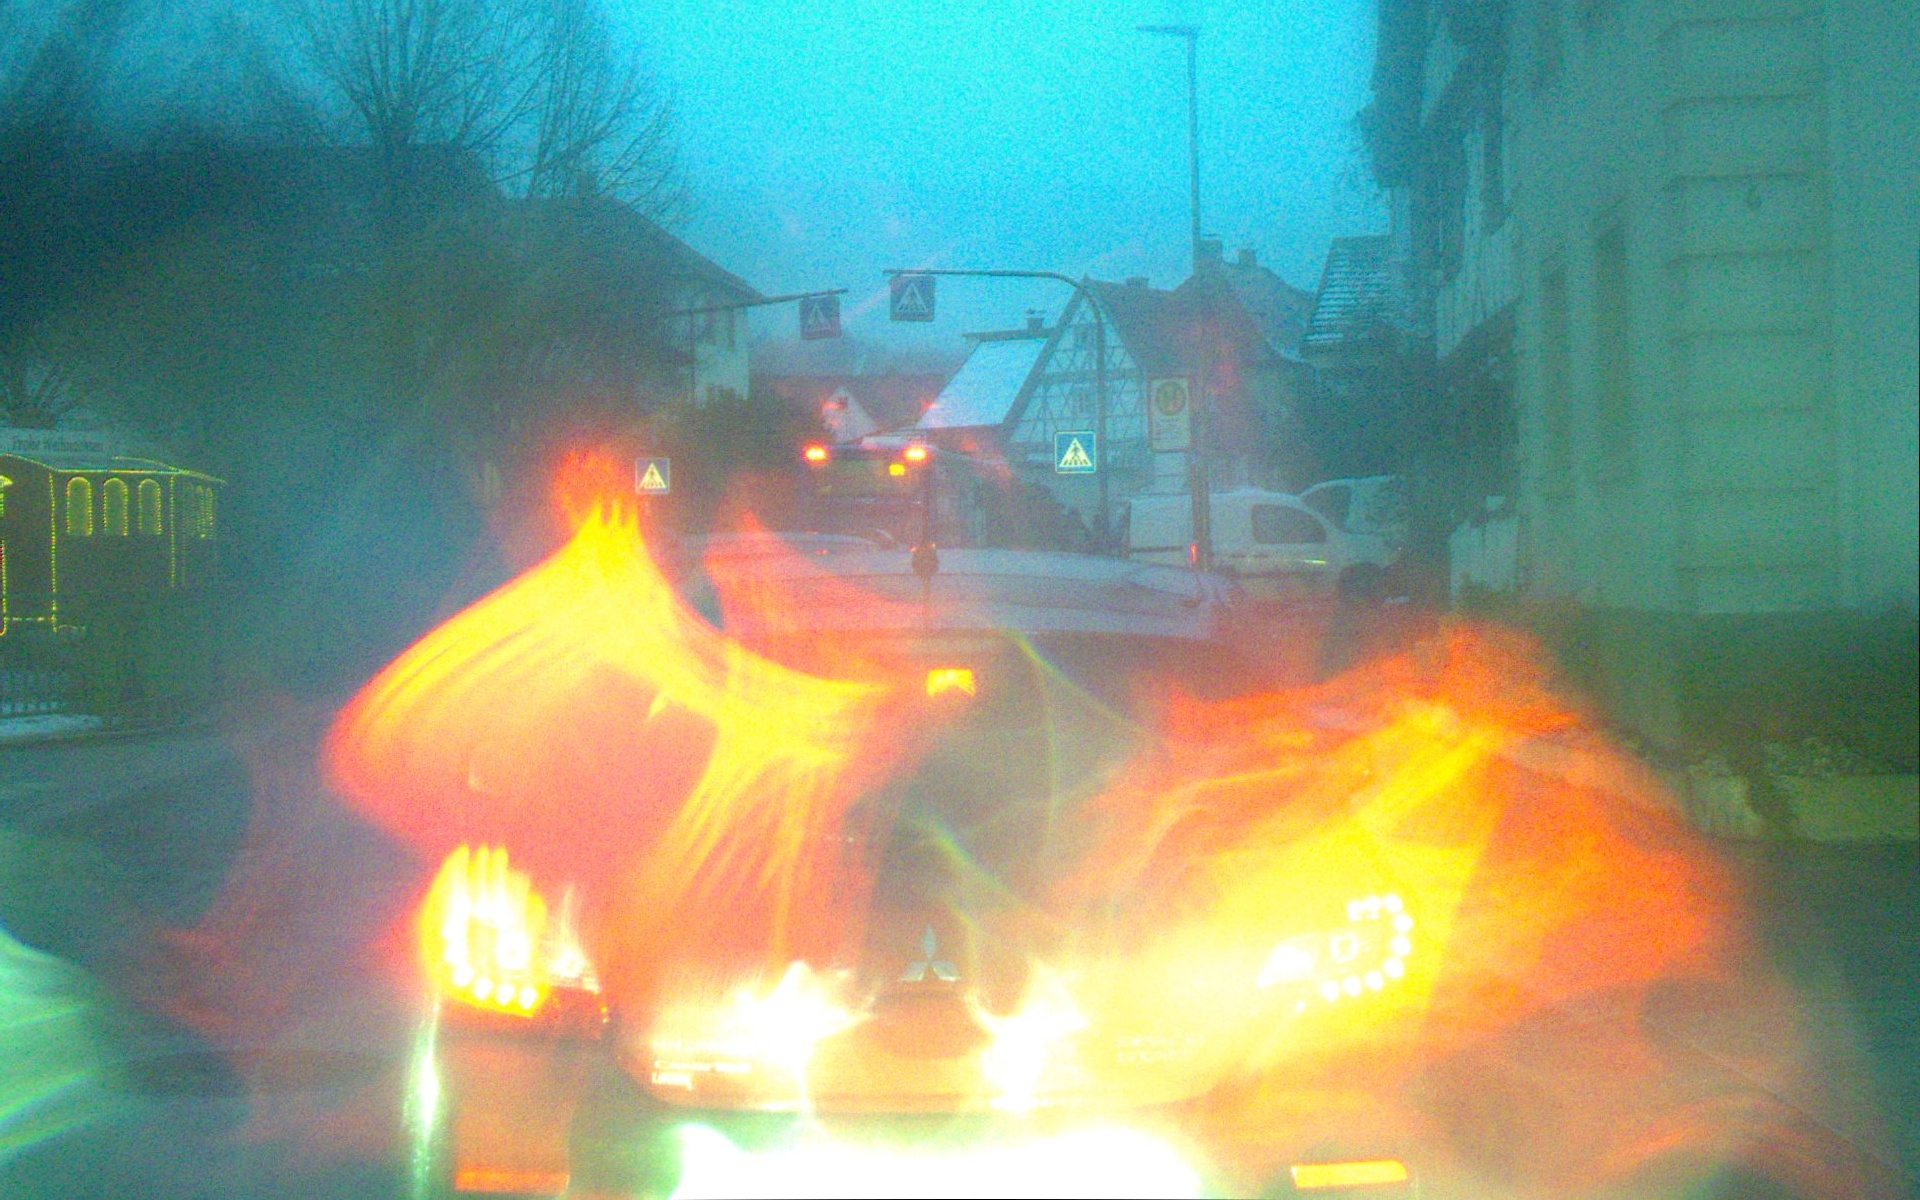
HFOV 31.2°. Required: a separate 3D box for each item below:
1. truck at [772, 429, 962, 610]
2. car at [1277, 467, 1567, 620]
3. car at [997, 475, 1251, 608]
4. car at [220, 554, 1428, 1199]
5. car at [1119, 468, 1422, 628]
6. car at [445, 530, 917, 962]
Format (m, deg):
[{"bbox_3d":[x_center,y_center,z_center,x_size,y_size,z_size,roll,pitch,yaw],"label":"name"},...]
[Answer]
[{"bbox_3d":[-1.598,-1.472,63.154,3.015,3.118,8.000,0,1,2],"label":"truck"},{"bbox_3d":[6.710,-0.827,50.082,4.098,2.144,1.913,0,1,7],"label":"car"},{"bbox_3d":[2.771,-0.983,57.401,4.098,2.144,1.913,0,1,7],"label":"car"},{"bbox_3d":[-0.201,0.660,6.360,1.638,1.476,3.379,0,1,-1],"label":"car"},{"bbox_3d":[4.326,-0.731,47.817,4.098,2.155,1.913,0,1,7],"label":"car"},{"bbox_3d":[-1.153,0.473,13.609,1.637,1.476,3.272,0,1,-7],"label":"car"}]
